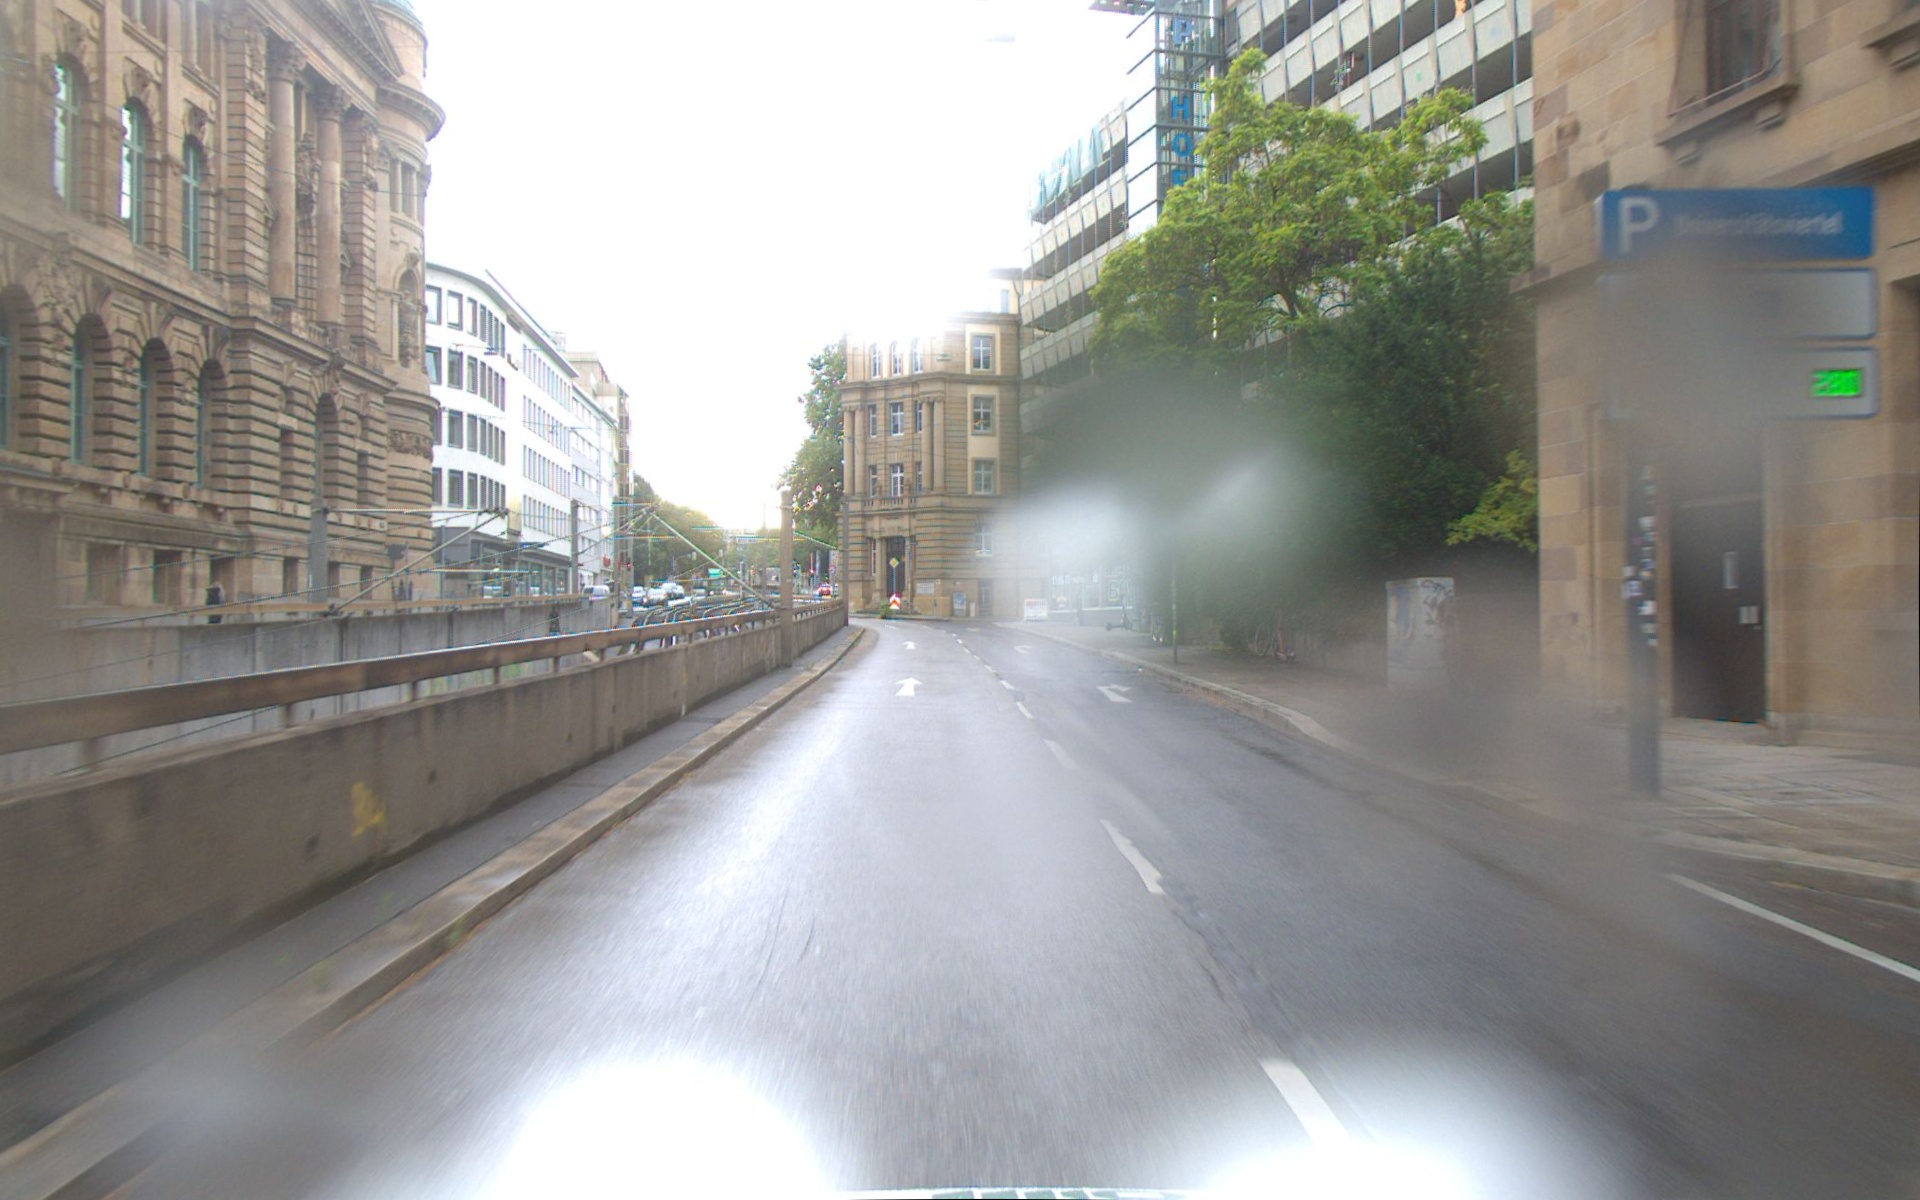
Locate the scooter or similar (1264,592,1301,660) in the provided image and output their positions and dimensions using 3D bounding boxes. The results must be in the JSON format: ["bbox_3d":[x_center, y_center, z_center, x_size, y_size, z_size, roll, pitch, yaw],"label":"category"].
[{"bbox_3d":[6.268,0.497,32.217,0.438,1.281,1.211,-1,0,-1],"label":"scooter or similar"}]

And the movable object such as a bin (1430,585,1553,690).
[{"bbox_3d":[7.082,0.487,22.126,1.214,1.333,1.233,-2,0,-1],"label":"movable object such as a bin"}]

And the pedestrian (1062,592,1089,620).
[{"bbox_3d":[4.829,0.258,69.391,0.740,1.143,1.242,1,0,-15],"label":"pedestrian"}]

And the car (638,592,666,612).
[{"bbox_3d":[-24.751,0.135,133.048,1.955,1.554,3.657,1,0,-7],"label":"car"}]

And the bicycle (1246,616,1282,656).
[{"bbox_3d":[6.301,0.740,34.325,0.490,0.767,1.211,-1,0,-1],"label":"bicycle"}]

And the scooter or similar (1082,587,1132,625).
[{"bbox_3d":[5.226,0.214,58.730,1.615,1.290,0.737,-1,1,-27],"label":"scooter or similar"}]
